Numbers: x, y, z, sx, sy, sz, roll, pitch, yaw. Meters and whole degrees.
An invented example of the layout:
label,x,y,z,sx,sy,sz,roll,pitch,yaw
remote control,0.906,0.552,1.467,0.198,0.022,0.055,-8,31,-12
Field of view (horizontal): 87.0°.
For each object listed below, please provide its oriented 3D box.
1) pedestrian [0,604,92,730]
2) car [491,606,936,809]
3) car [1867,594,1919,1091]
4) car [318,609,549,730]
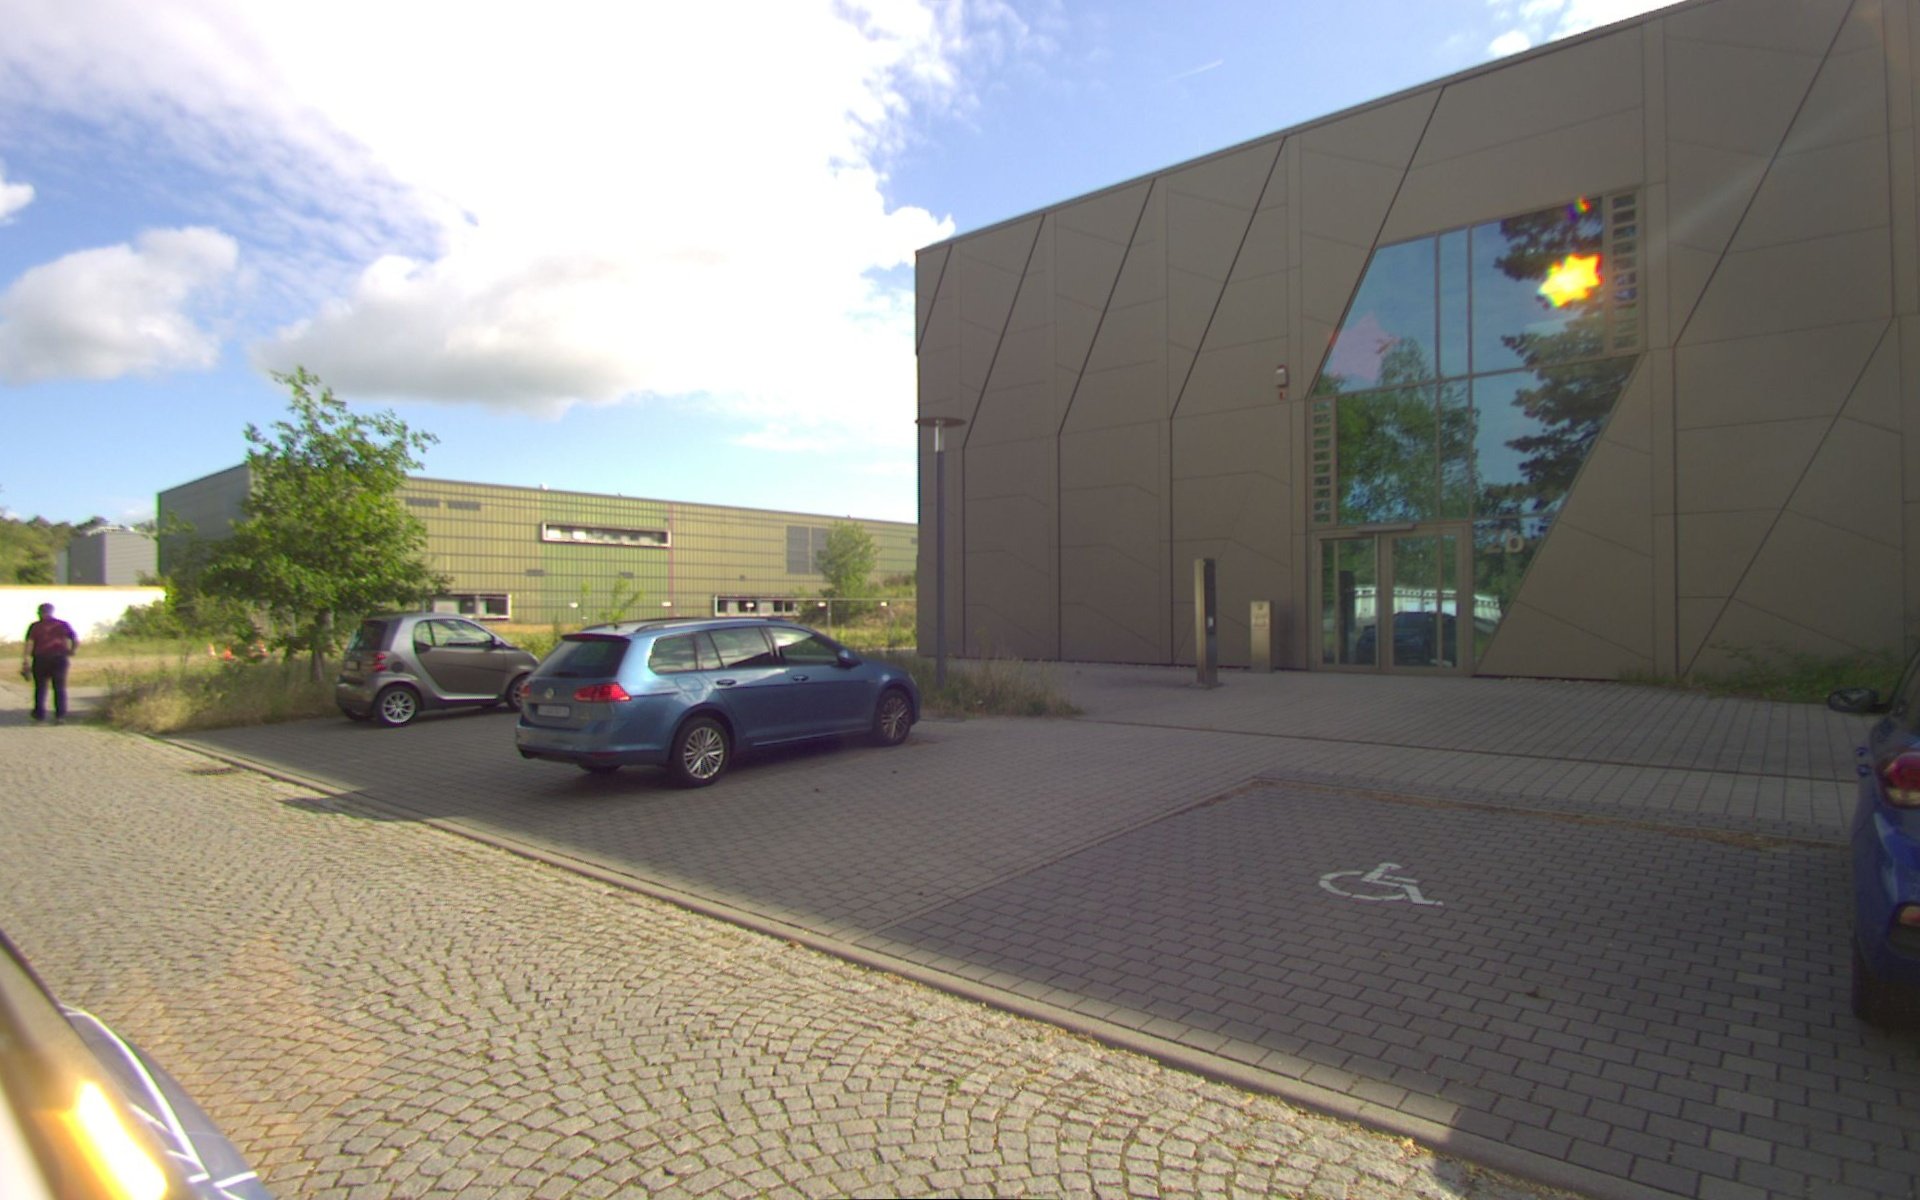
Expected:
label,x,y,z,sx,sy,sz,roll,pitch,yaw
pedestrian,-13.595,0.968,15.054,1.151,1.785,0.797,-1,-1,37
car,-2.226,0.877,10.180,1.678,1.475,4.216,-1,1,38
car,4.822,0.743,4.054,1.719,1.475,3.795,-1,1,42
car,-7.804,0.954,15.119,1.517,1.554,2.672,-1,1,39
